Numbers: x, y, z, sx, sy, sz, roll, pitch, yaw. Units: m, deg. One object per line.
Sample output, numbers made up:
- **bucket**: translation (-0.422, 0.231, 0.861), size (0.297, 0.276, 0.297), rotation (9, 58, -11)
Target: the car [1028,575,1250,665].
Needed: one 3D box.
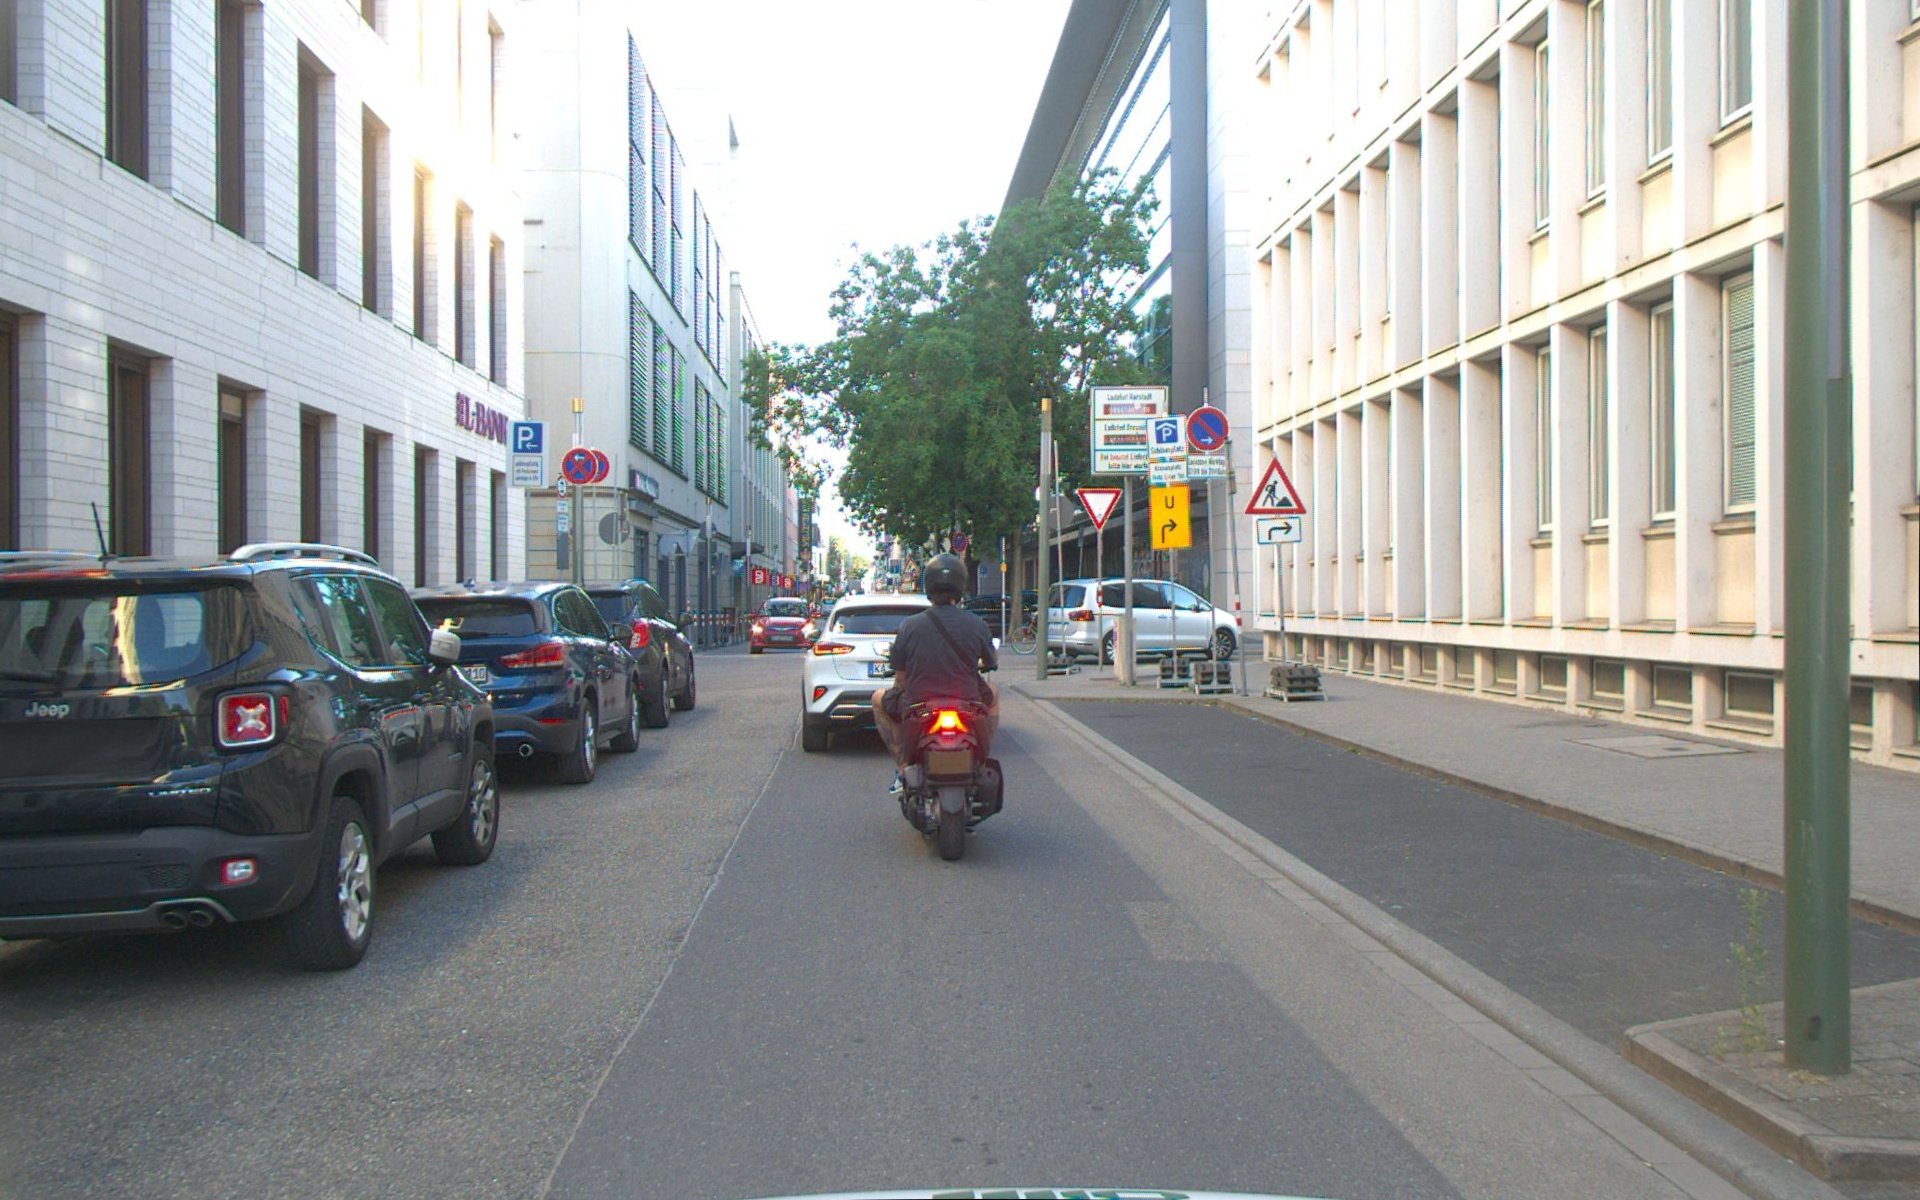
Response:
- **car**: translation (3.756, 0.368, 34.439), size (4.436, 1.674, 1.809), rotation (-1, 3, -32)

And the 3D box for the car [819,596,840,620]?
- **car**: translation (-13.029, 0.782, 164.610), size (1.955, 2.370, 5.015), rotation (1, 0, -6)

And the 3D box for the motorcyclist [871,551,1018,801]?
- **motorcyclist**: translation (-0.095, 0.448, 9.873), size (0.849, 1.452, 0.455), rotation (0, -1, -3)

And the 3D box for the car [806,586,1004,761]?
- **car**: translation (-0.643, 0.650, 17.141), size (1.786, 1.568, 4.260), rotation (0, 0, -4)

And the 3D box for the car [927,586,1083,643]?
- **car**: translation (1.464, 0.477, 55.178), size (4.909, 1.525, 1.998), rotation (-4, 0, -6)

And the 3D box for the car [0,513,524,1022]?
- **car**: translation (-3.393, 0.587, 7.809), size (1.786, 1.744, 4.014), rotation (-2, 1, -4)

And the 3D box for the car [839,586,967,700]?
- **car**: translation (-0.969, 0.609, 26.118), size (1.786, 1.568, 4.361), rotation (-2, 1, -4)

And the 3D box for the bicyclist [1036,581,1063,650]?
- **bicyclist**: translation (2.183, 0.375, 40.356), size (0.616, 1.654, 0.498), rotation (0, -1, 8)

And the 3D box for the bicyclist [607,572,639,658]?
- **bicyclist**: translation (-7.015, 0.311, 34.430), size (0.542, 1.762, 0.498), rotation (1, -1, -23)

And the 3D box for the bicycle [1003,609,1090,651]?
- **bicycle**: translation (2.116, 0.722, 40.359), size (2.057, 1.012, 0.519), rotation (0, -1, 8)

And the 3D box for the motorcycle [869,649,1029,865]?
- **motorcycle**: translation (-0.092, 0.875, 9.830), size (0.855, 1.129, 1.839), rotation (0, -1, -2)

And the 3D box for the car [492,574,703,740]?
- **car**: translation (-4.229, 0.591, 19.948), size (1.786, 1.707, 4.261), rotation (-2, 1, -4)

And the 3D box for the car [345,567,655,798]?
- **car**: translation (-3.770, 0.586, 14.271), size (1.705, 1.622, 4.150), rotation (-2, 1, -4)

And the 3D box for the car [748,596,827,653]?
- **car**: translation (-4.703, 0.714, 45.530), size (1.785, 1.491, 4.262), rotation (0, -2, -1)

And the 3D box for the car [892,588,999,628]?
- **car**: translation (-0.719, 0.383, 79.613), size (4.909, 1.525, 1.998), rotation (-4, 0, -6)

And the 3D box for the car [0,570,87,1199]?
- **car**: translation (-3.172, 0.728, 2.395), size (1.786, 1.568, 4.260), rotation (0, 0, -4)

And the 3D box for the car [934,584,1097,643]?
- **car**: translation (1.741, 0.440, 52.966), size (4.909, 1.477, 1.998), rotation (-4, 0, -6)
